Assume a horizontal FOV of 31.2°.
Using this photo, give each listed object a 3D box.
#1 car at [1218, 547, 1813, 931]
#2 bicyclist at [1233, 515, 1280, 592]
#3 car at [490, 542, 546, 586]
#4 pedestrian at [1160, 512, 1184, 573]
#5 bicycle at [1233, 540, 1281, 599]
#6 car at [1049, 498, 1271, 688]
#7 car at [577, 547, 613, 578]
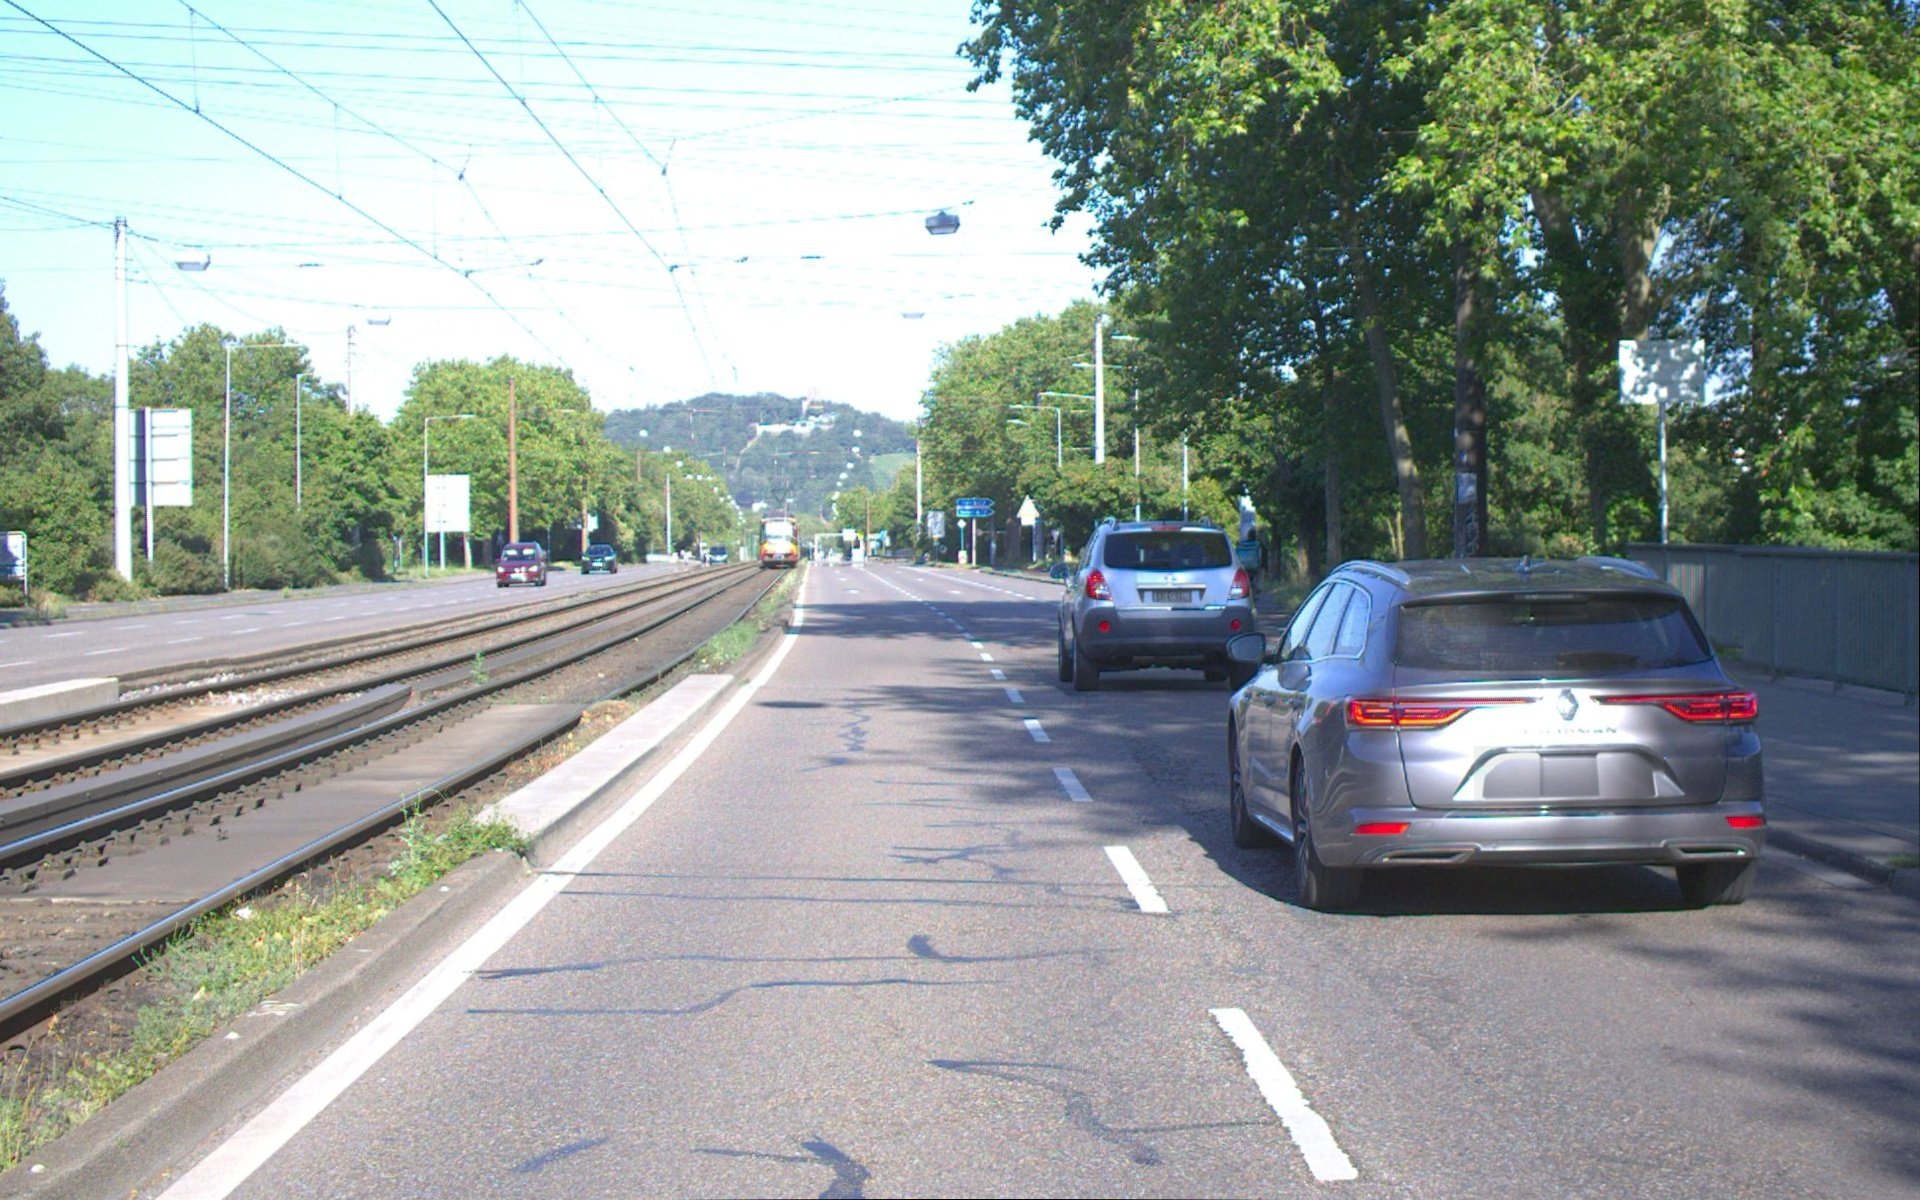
[{"bbox_3d":[2.294,0.495,15.447,1.866,1.462,4.666,0,1,-1],"label":"car"},{"bbox_3d":[5.789,-0.906,67.174,0.795,1.455,1.112,-3,1,2],"label":"bicyclist"},{"bbox_3d":[-18.087,-1.503,140.774,1.862,1.714,4.001,0,2,-2],"label":"car"},{"bbox_3d":[6.591,-1.775,106.732,0.626,1.865,0.624,2,1,-2],"label":"pedestrian"},{"bbox_3d":[5.804,-0.608,67.292,0.795,1.090,1.894,-3,1,2],"label":"bicycle"},{"bbox_3d":[2.005,-0.128,35.606,1.883,1.789,4.001,2,2,-2],"label":"car"},{"bbox_3d":[-21.082,-2.162,198.670,1.905,1.638,4.001,2,2,-4],"label":"car"}]
